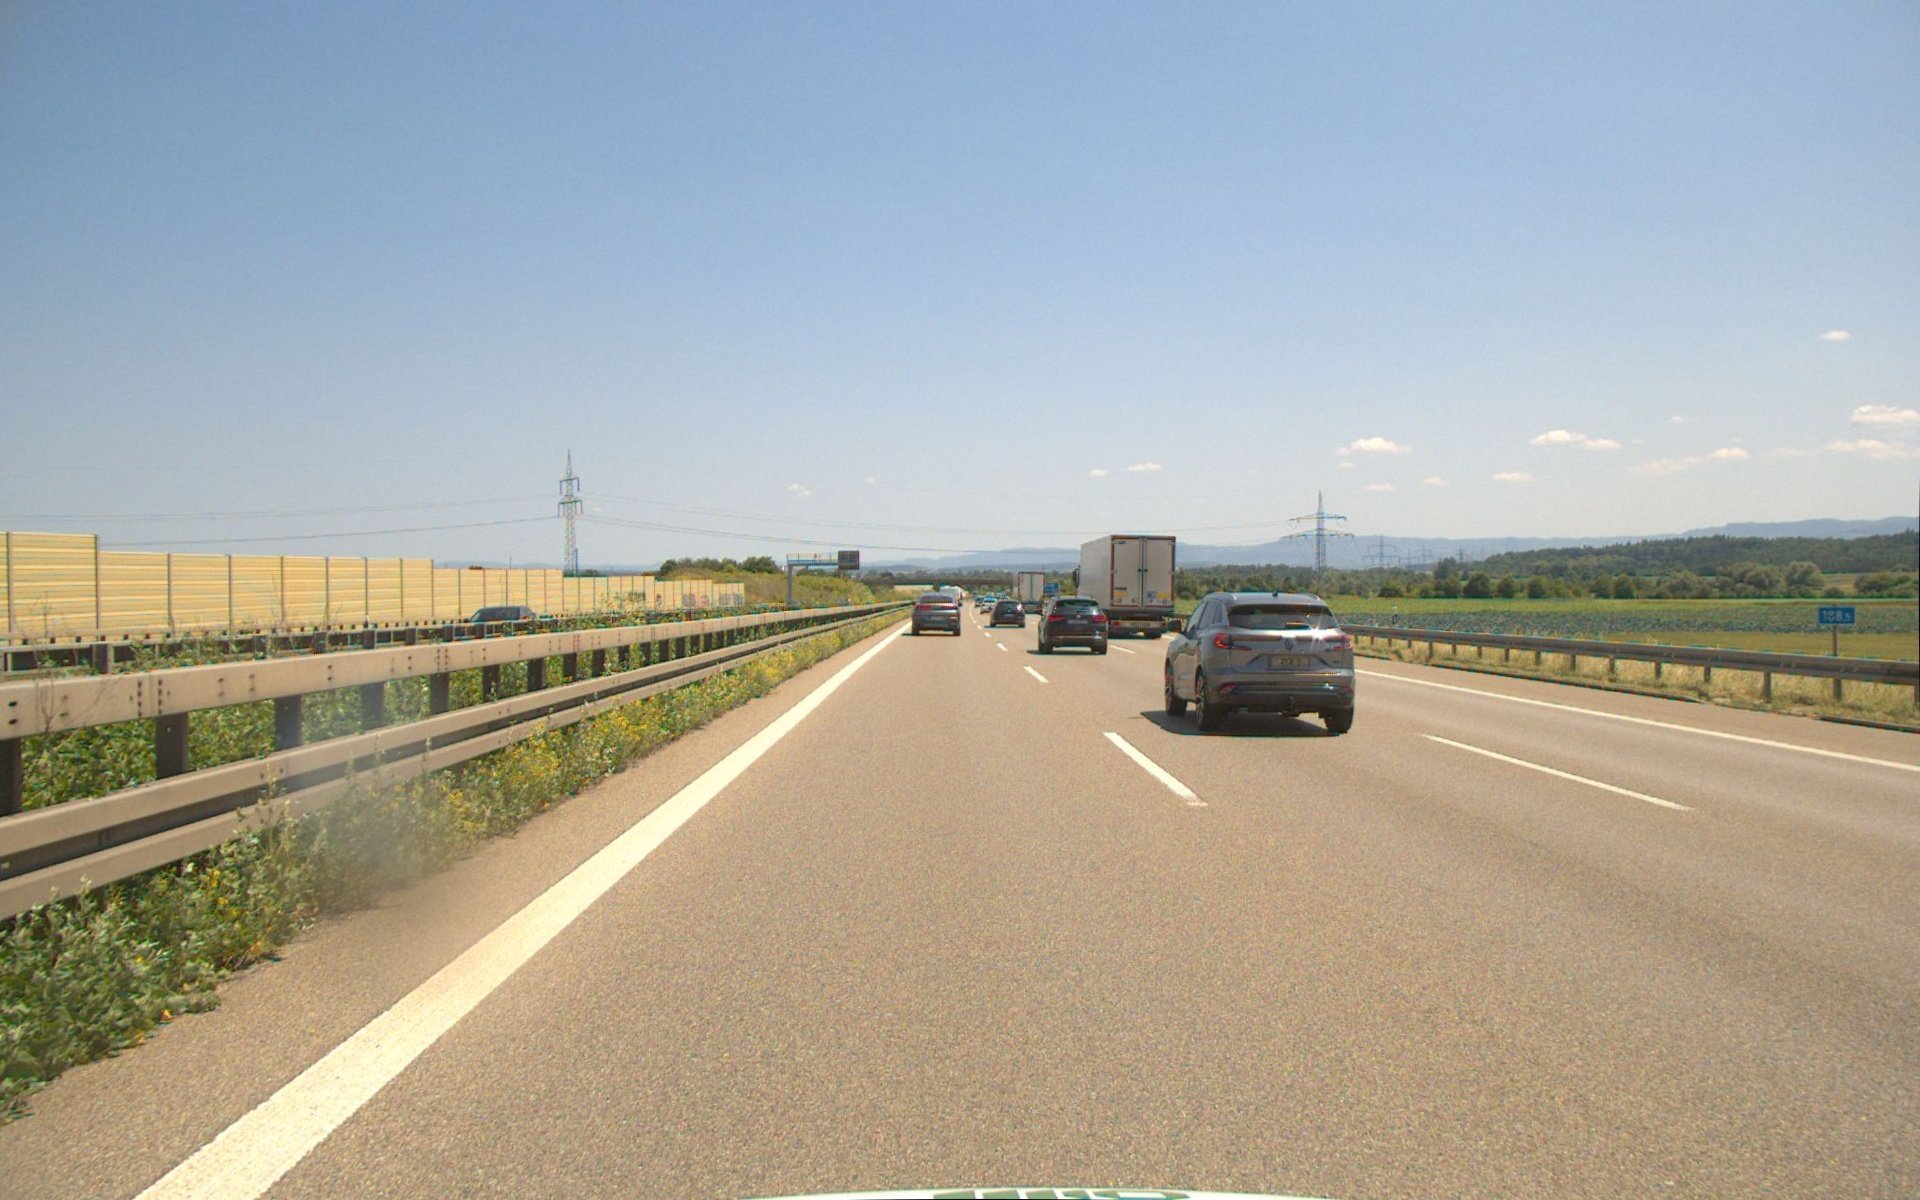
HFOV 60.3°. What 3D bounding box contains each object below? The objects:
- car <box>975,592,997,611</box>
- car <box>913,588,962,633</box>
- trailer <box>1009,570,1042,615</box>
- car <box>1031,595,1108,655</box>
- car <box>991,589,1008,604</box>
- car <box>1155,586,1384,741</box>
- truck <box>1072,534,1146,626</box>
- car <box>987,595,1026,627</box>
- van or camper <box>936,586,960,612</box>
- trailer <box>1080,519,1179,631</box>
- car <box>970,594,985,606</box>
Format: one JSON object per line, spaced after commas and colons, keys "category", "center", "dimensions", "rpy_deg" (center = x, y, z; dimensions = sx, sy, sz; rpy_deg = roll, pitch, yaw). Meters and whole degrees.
{"category": "car", "center": [2.368, 0.123, 151.073], "dimensions": [1.952, 1.712, 4.000], "rpy_deg": [1, 0, 1]}
{"category": "car", "center": [-0.930, 0.409, 66.160], "dimensions": [1.814, 1.693, 3.733], "rpy_deg": [1, 0, -2]}
{"category": "trailer", "center": [6.476, -0.722, 165.332], "dimensions": [2.882, 4.271, 13.597], "rpy_deg": [1, 0, 1]}
{"category": "car", "center": [3.068, 0.684, 46.874], "dimensions": [1.761, 1.589, 3.821], "rpy_deg": [1, 0, -2]}
{"category": "car", "center": [4.678, -0.426, 197.664], "dimensions": [1.952, 1.712, 4.000], "rpy_deg": [1, 0, 1]}
{"category": "car", "center": [3.678, 0.697, 20.512], "dimensions": [1.814, 1.677, 4.643], "rpy_deg": [1, 0, -2]}
{"category": "truck", "center": [7.032, -0.894, 78.930], "dimensions": [2.804, 4.163, 6.878], "rpy_deg": [1, 0, -1]}
{"category": "car", "center": [2.431, 0.600, 87.603], "dimensions": [1.893, 1.602, 4.934], "rpy_deg": [1, 0, 0]}
{"category": "van or camper", "center": [-1.053, -0.087, 147.600], "dimensions": [2.067, 2.250, 5.265], "rpy_deg": [1, 0, 1]}
{"category": "trailer", "center": [7.060, -0.928, 70.948], "dimensions": [2.809, 4.294, 13.293], "rpy_deg": [1, 0, 0]}
{"category": "car", "center": [2.484, 0.028, 233.979], "dimensions": [1.952, 1.712, 4.000], "rpy_deg": [1, 0, 1]}
